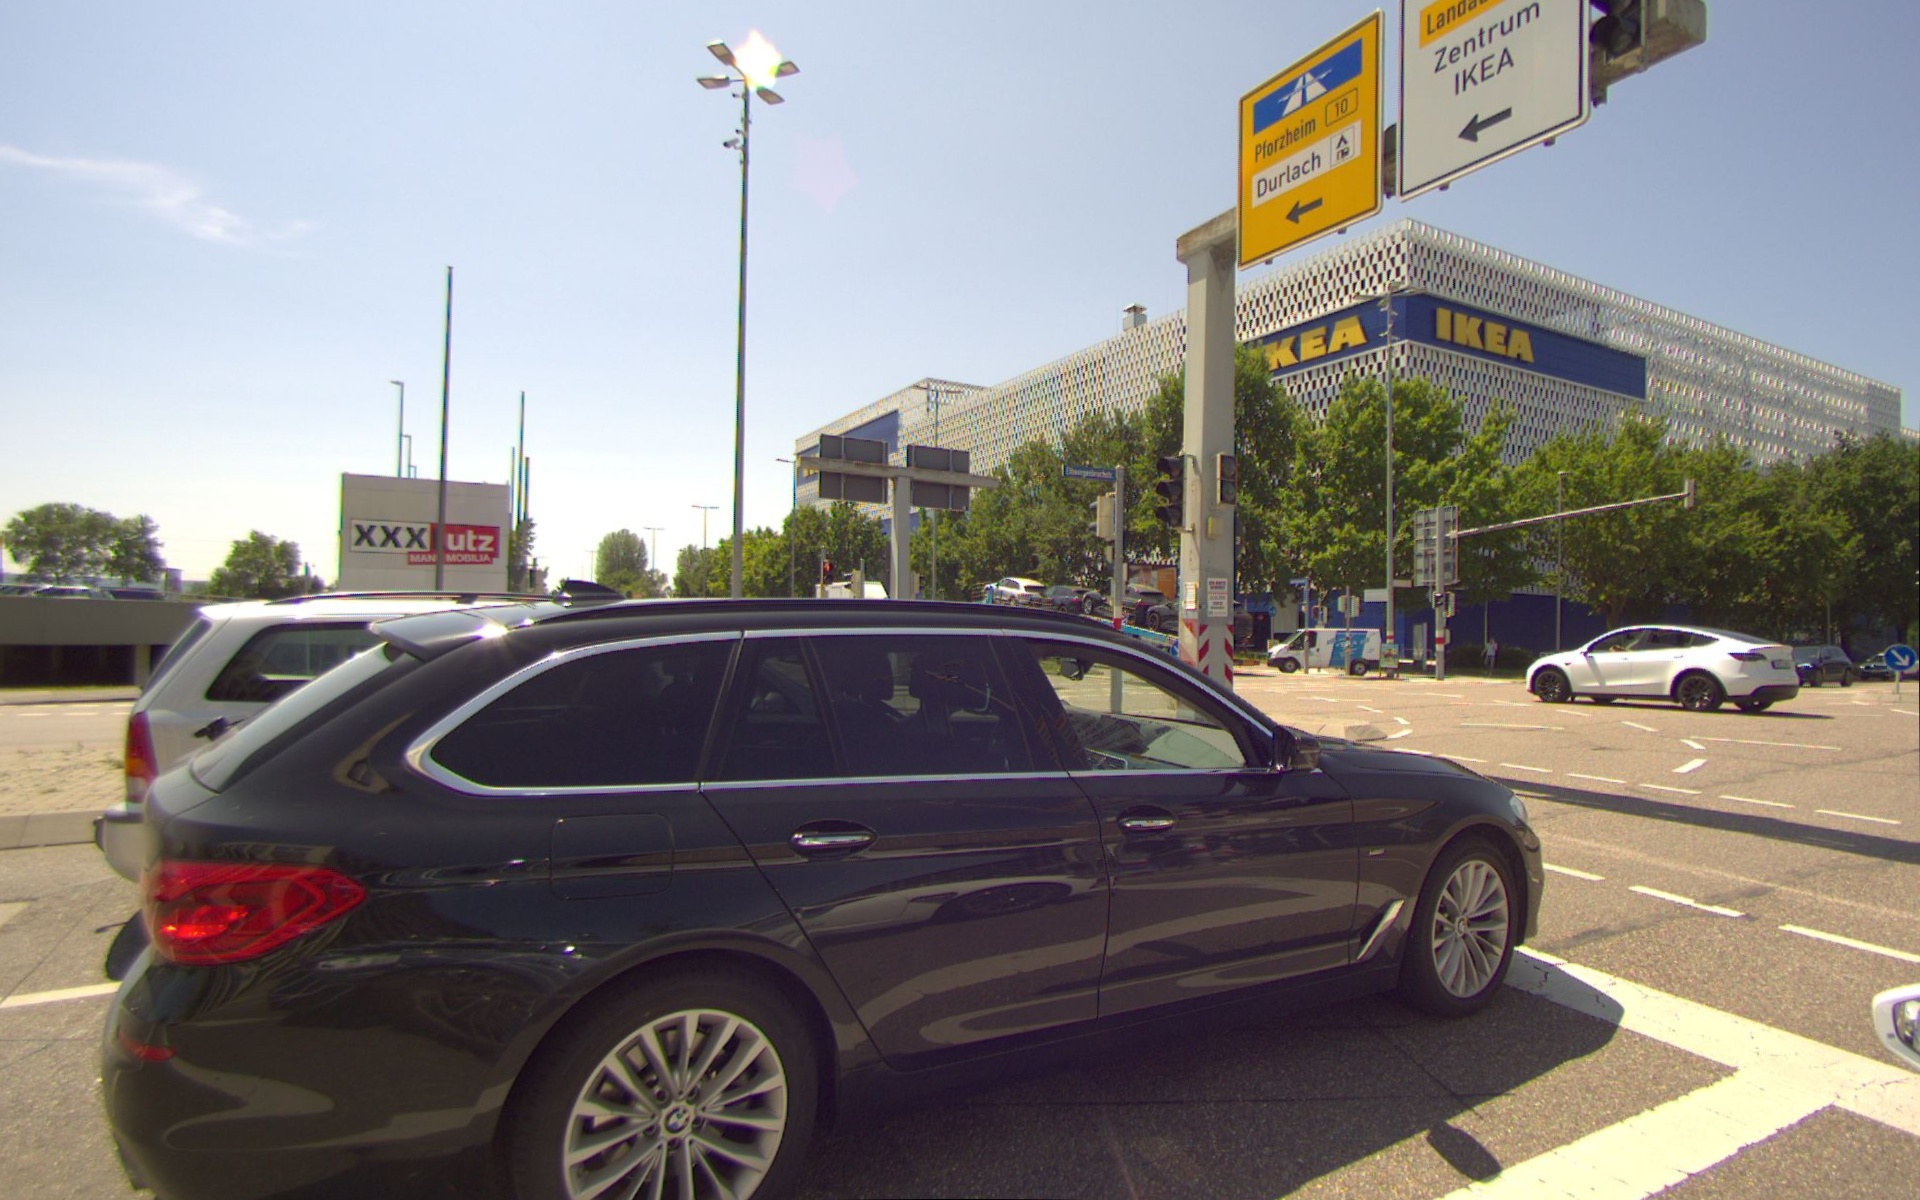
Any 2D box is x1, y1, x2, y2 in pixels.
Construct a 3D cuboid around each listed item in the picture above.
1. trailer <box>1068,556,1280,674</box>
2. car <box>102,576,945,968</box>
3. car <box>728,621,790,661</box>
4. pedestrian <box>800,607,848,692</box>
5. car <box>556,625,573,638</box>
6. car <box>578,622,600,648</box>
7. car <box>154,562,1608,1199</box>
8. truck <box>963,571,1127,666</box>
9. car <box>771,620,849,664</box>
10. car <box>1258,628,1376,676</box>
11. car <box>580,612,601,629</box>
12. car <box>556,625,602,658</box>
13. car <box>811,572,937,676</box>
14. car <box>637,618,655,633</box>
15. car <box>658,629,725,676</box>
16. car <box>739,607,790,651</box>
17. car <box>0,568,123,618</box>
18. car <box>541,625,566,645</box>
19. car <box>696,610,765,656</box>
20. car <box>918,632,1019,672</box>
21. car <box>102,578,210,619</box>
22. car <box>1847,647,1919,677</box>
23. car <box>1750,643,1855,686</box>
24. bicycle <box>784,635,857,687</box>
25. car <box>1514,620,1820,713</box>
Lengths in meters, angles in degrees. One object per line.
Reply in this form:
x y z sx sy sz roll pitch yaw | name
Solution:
8.151 0.713 40.021 3.053 4.135 9.583 2 -2 -25 | trailer
-2.214 0.720 5.787 3.961 1.514 1.785 2 -1 -36 | car
-10.641 2.148 52.980 1.975 2.040 4.681 2 -2 -27 | car
-3.382 1.214 24.925 0.856 2.040 0.899 1 -2 -35 | pedestrian
-59.811 4.742 151.758 1.906 2.040 3.971 2 -2 -28 | car
-29.969 2.784 81.242 1.594 2.040 3.863 1 -2 -20 | car
0.185 0.731 3.611 4.570 1.485 1.791 1 -1 -31 | car
3.838 0.997 49.156 3.059 4.136 10.586 2 -2 -25 | truck
-6.801 1.859 45.009 1.973 1.835 5.438 1 -2 -25 | car
15.782 2.293 44.621 4.667 2.034 2.002 1 -2 10 | car
-78.977 4.363 214.667 3.186 3.359 7.389 2 -3 -29 | car
-23.929 2.595 63.068 1.815 2.040 3.963 2 -2 -34 | car
-3.367 0.887 37.527 2.156 3.532 6.875 0 -1 -28 | car
-42.693 3.458 136.617 1.971 2.040 3.979 2 -2 -22 | car
-9.369 1.812 34.897 1.904 1.528 3.982 1 -2 -20 | car
-12.421 1.829 63.670 2.032 2.665 4.652 0 -2 -26 | car
-38.734 -0.257 43.092 3.953 1.957 1.984 2 -2 -30 | car
-36.509 3.142 90.103 1.718 1.708 3.642 2 -2 -28 | car
-13.793 1.966 60.058 2.542 2.568 6.587 2 -2 -26 | car
0.232 1.863 36.656 1.756 1.360 4.262 1 -2 -30 | car
-40.200 -0.033 50.332 3.956 1.933 1.983 2 -2 -32 | car
53.121 3.568 57.746 4.037 1.687 1.920 2 -3 -28 | car
33.957 2.601 40.456 4.444 1.619 1.866 2 -3 -30 | car
-3.503 1.505 25.083 0.987 1.229 2.079 2 -2 -35 | bicycle
13.834 1.269 20.026 1.972 1.609 4.669 2 -3 -24 | car
